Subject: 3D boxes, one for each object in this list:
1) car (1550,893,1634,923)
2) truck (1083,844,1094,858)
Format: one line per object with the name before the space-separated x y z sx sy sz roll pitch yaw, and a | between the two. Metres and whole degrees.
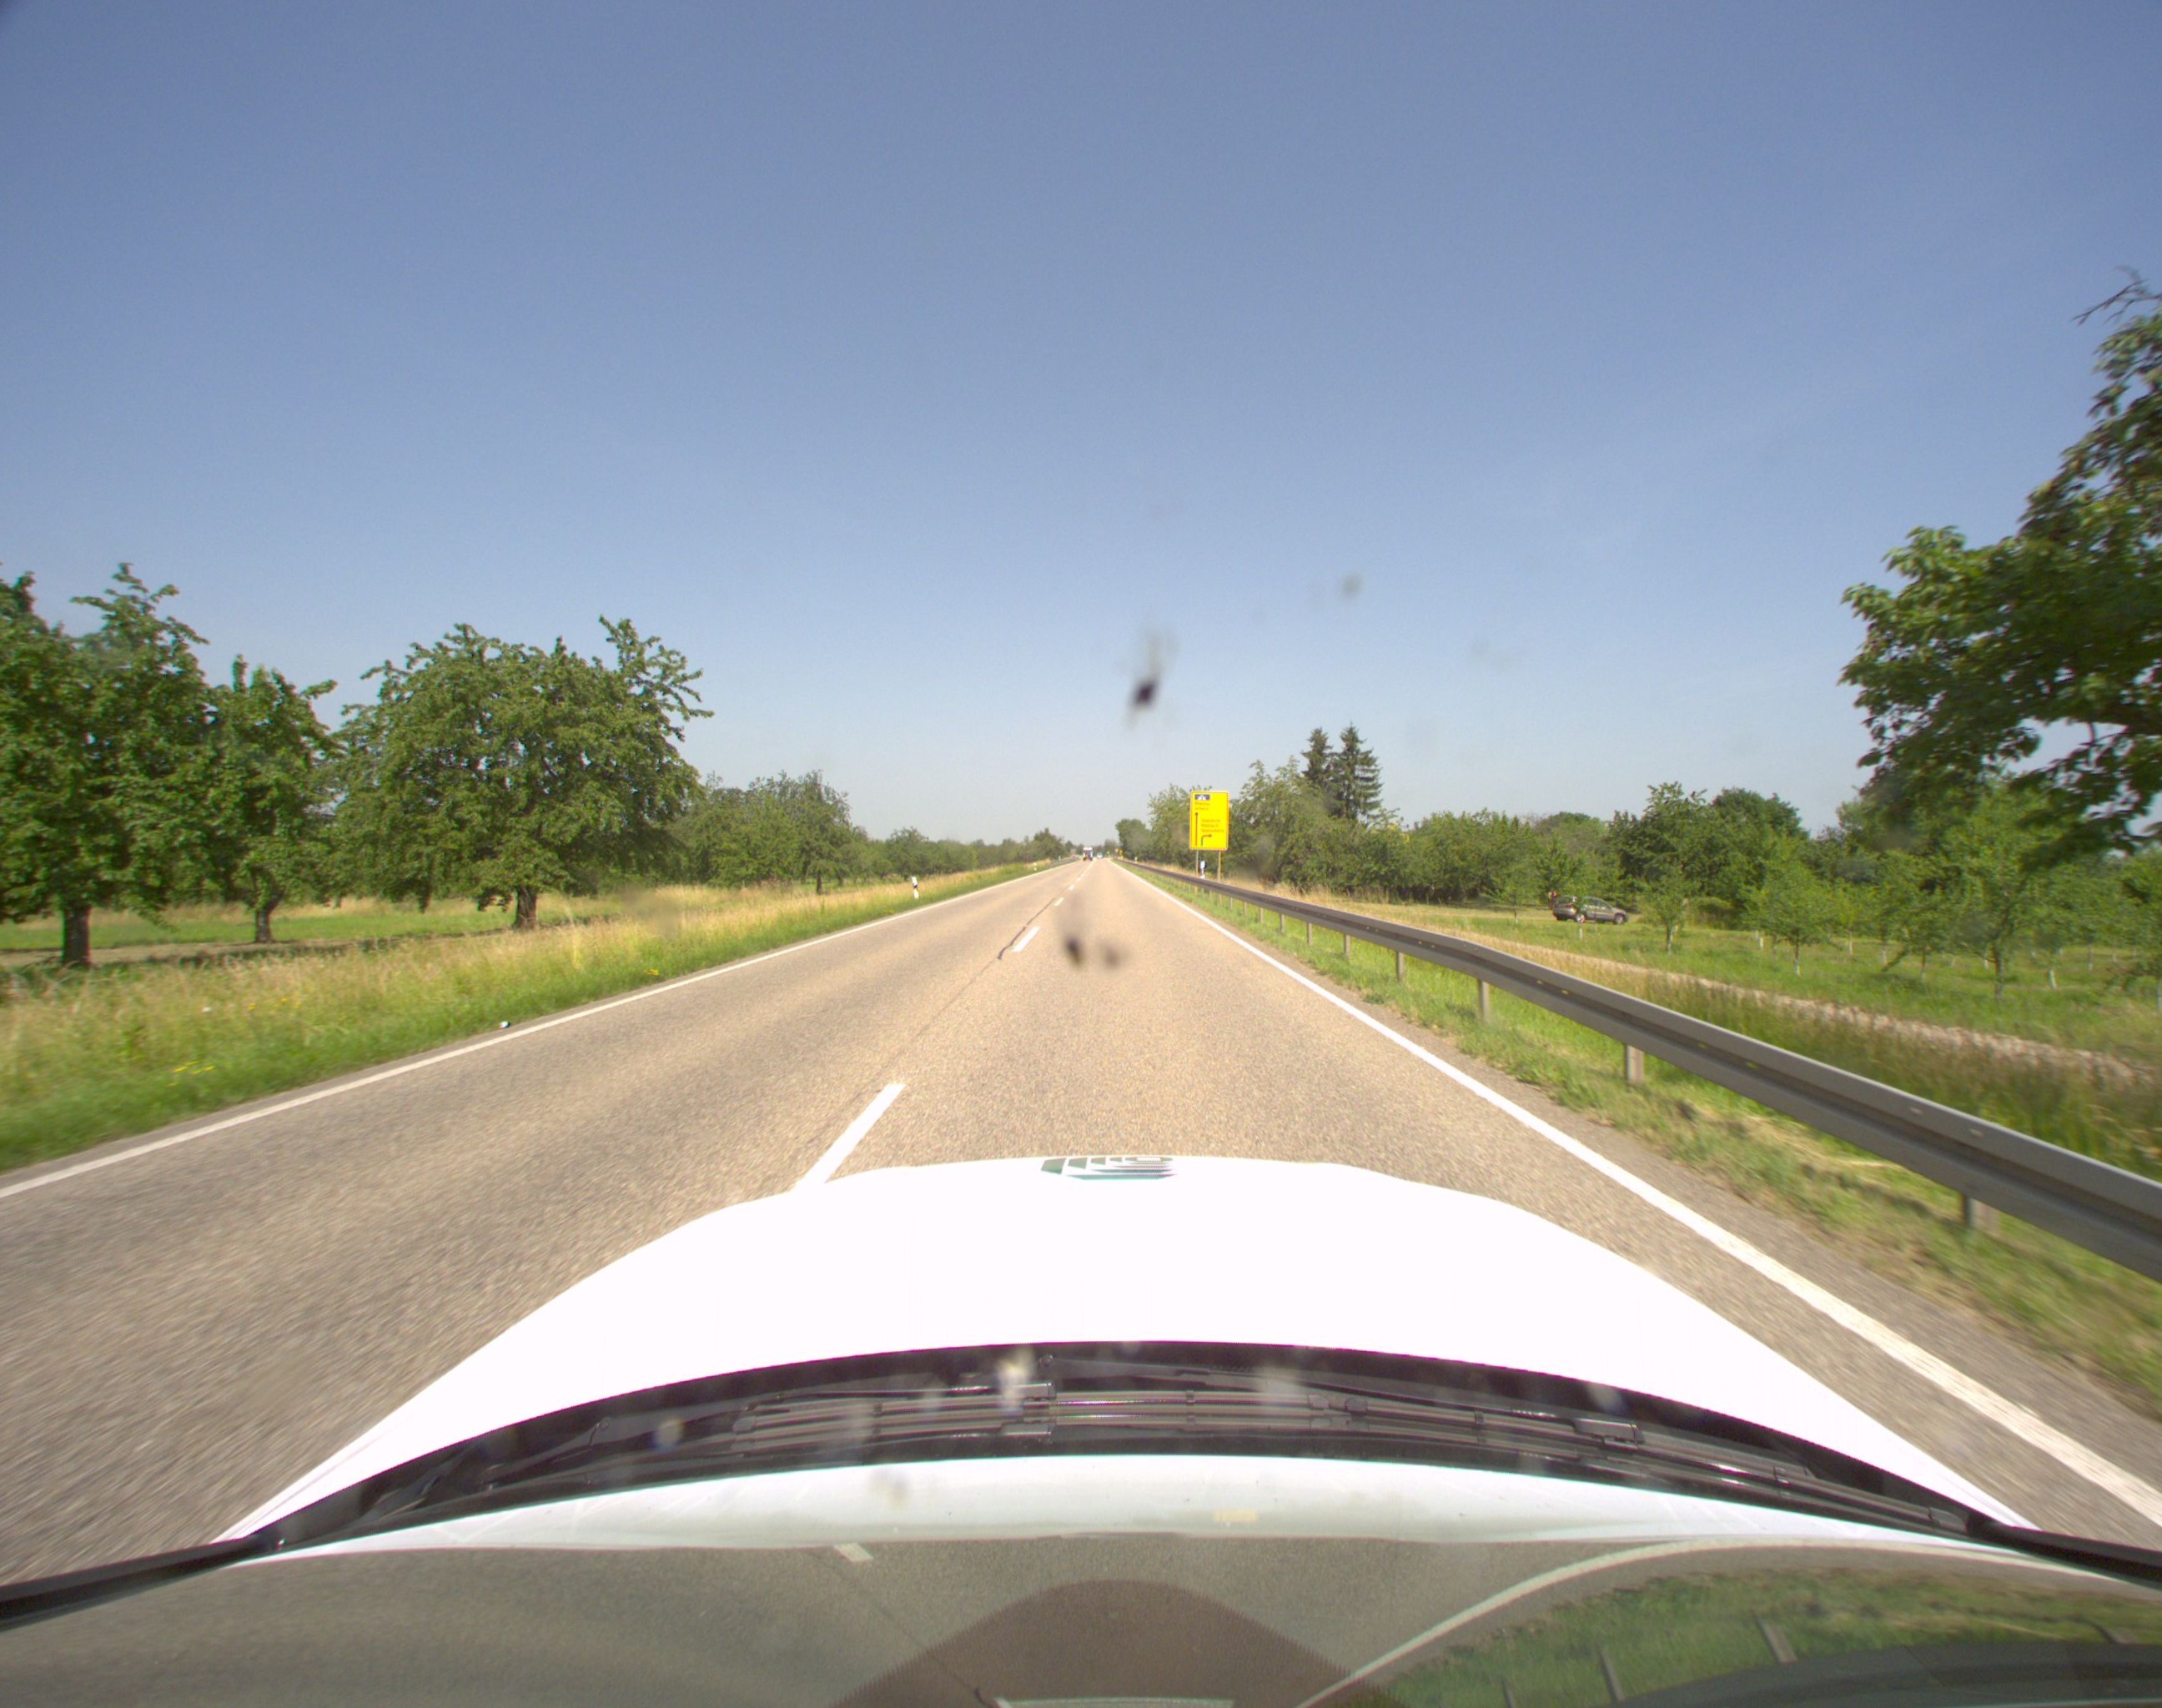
car | 30.979 3.243 49.457 4.075 1.534 1.852 3 -1 -8
truck | 2.049 -0.810 219.316 2.718 3.672 9.384 0 -1 1
